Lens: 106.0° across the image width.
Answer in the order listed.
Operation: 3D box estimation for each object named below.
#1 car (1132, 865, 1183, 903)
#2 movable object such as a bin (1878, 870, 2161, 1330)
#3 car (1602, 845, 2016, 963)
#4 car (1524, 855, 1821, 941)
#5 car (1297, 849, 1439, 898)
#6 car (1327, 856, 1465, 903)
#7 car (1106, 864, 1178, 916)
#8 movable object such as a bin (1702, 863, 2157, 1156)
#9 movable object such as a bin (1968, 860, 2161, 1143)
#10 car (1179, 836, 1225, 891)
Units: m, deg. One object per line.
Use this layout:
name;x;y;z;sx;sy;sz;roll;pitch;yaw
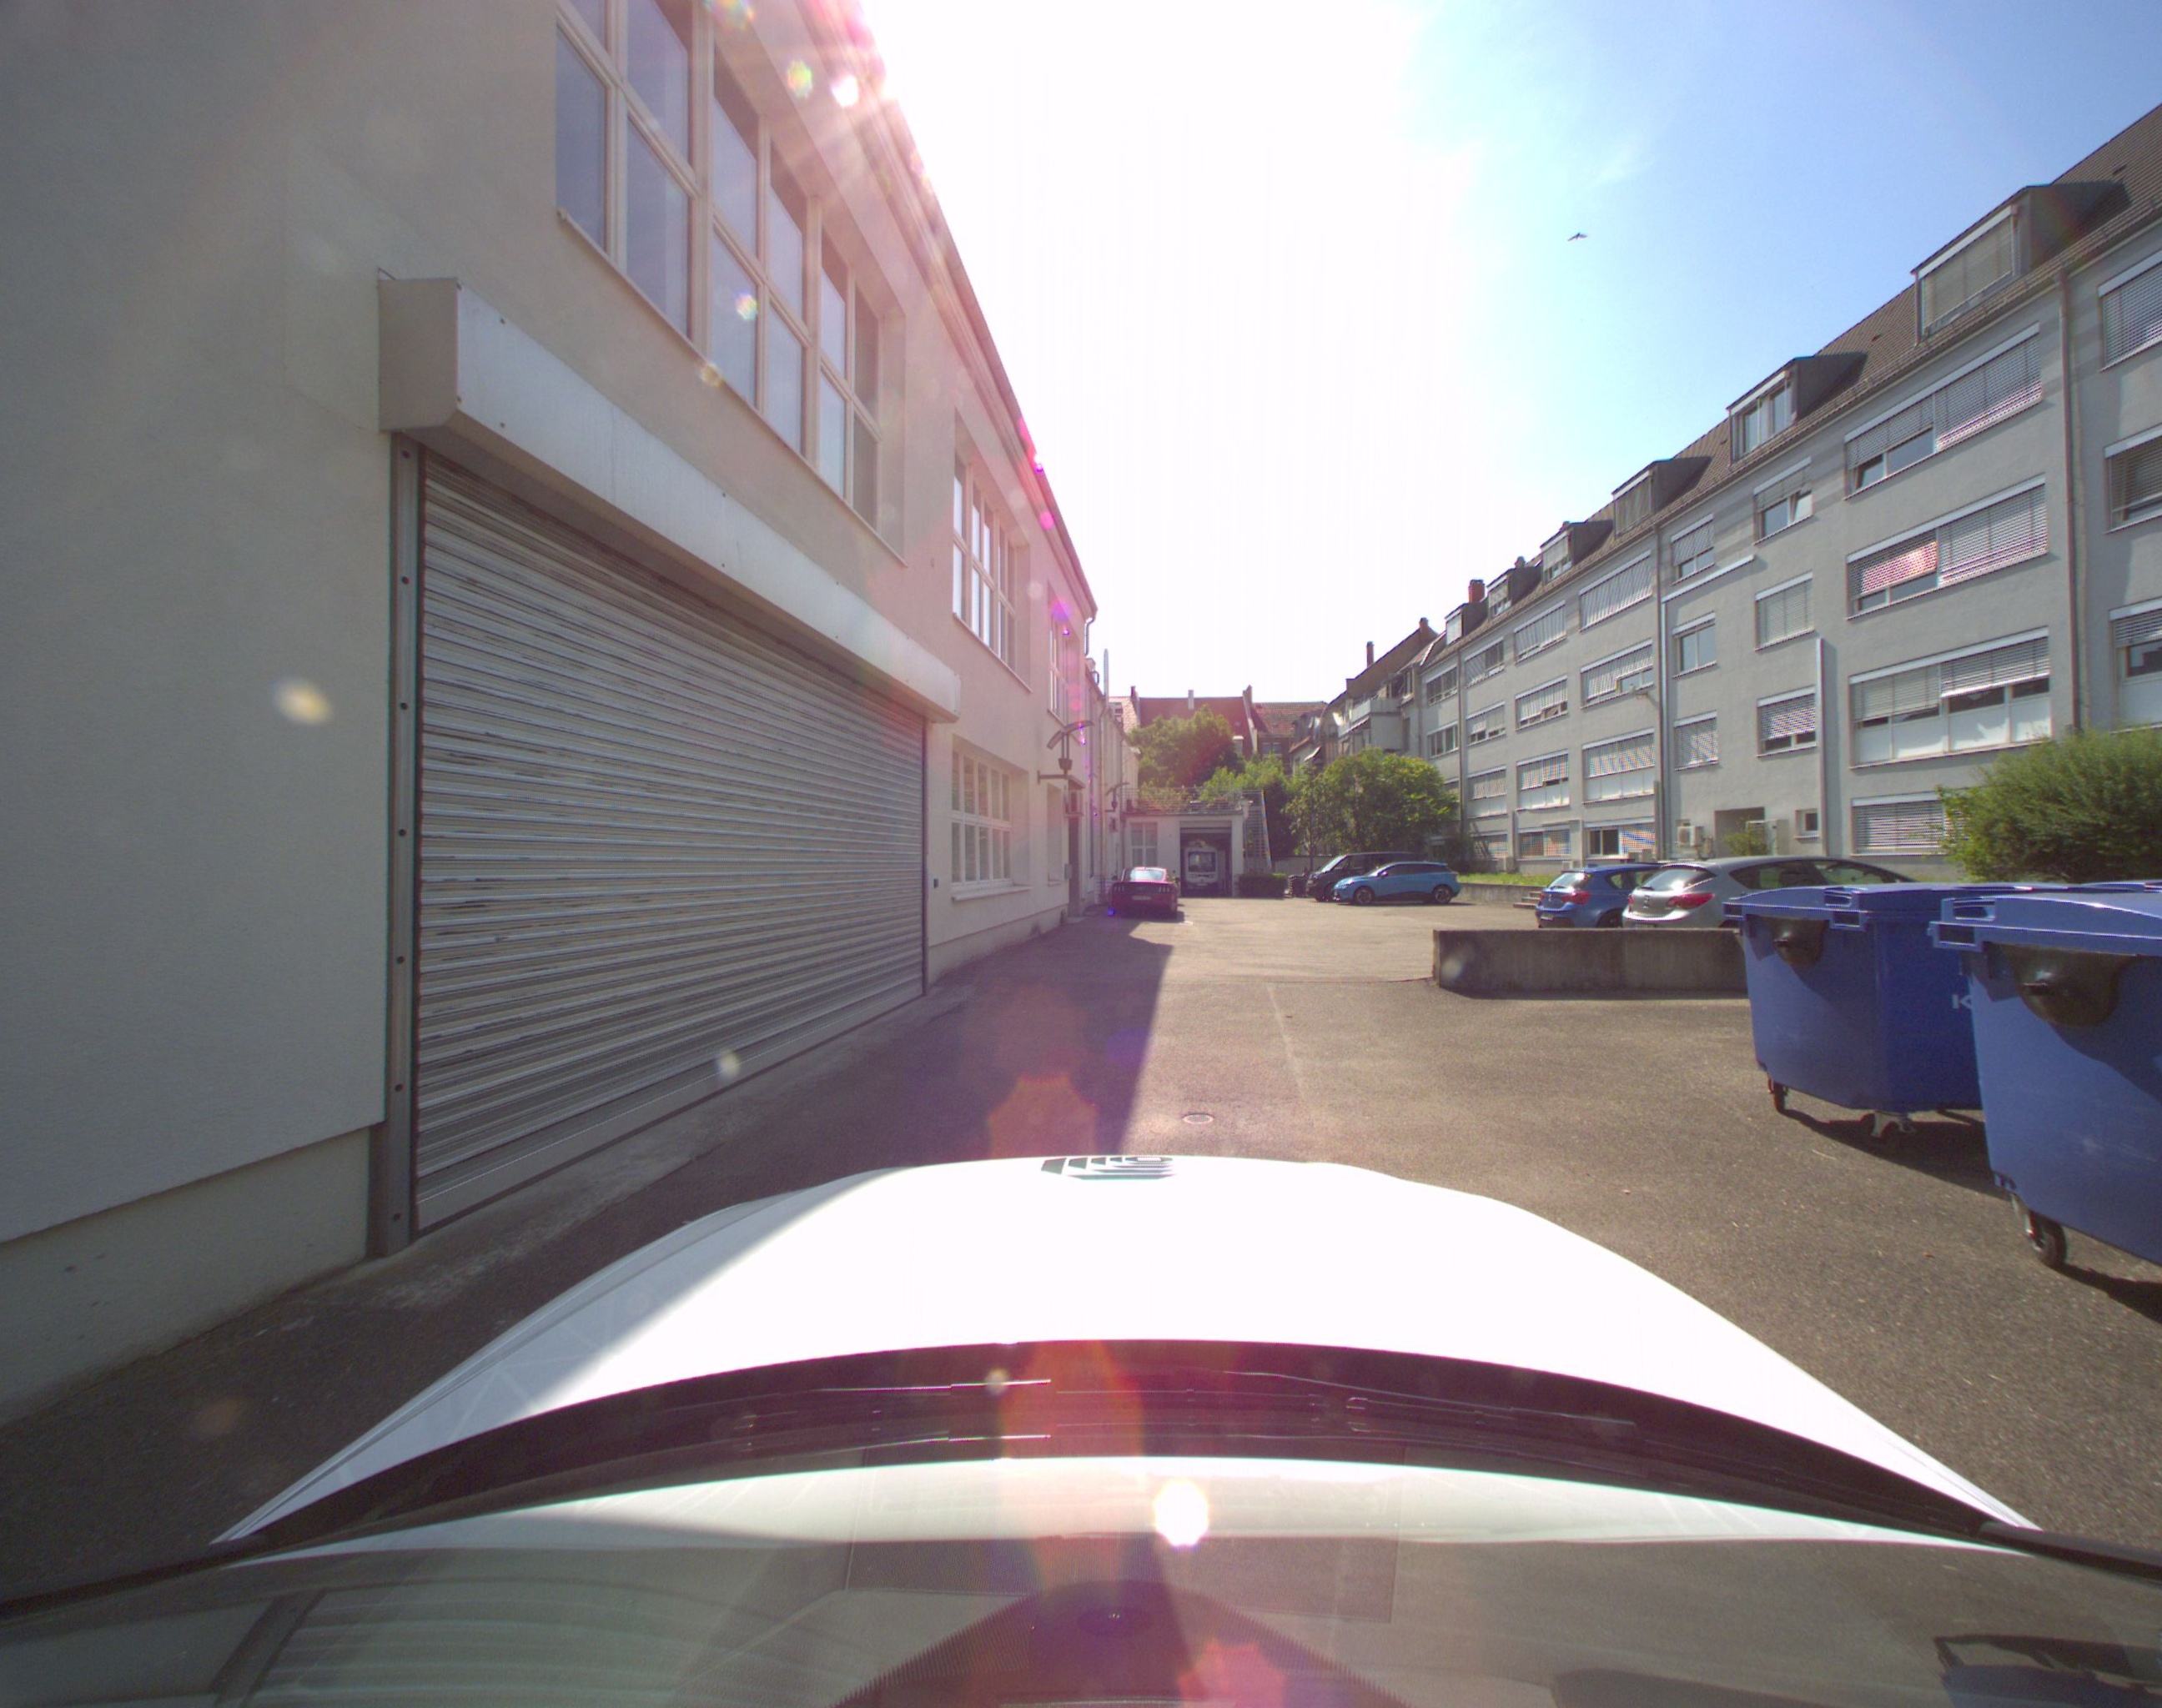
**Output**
car;2.889;1.074;30.207;1.605;1.295;3.767;-1;-1;9
movable object such as a bin;3.821;0.719;2.661;1.239;1.319;1.145;-3;-3;10
car;9.807;0.660;11.280;3.967;1.427;1.814;-1;-1;5
car;10.424;0.766;14.629;3.965;1.394;1.692;-1;-1;7
car;11.400;0.751;32.539;4.943;1.767;2.093;-2;0;-5
car;11.215;0.890;29.273;4.209;1.532;2.003;-2;0;4
car;1.846;0.961;23.465;1.842;1.319;4.008;1;0;7
movable object such as a bin;4.398;0.737;4.388;1.241;1.355;1.130;-1;-1;5
movable object such as a bin;5.762;0.707;4.176;1.150;1.336;1.144;-1;-1;5
car;6.385;0.536;42.908;2.162;2.607;6.750;-2;-1;9
